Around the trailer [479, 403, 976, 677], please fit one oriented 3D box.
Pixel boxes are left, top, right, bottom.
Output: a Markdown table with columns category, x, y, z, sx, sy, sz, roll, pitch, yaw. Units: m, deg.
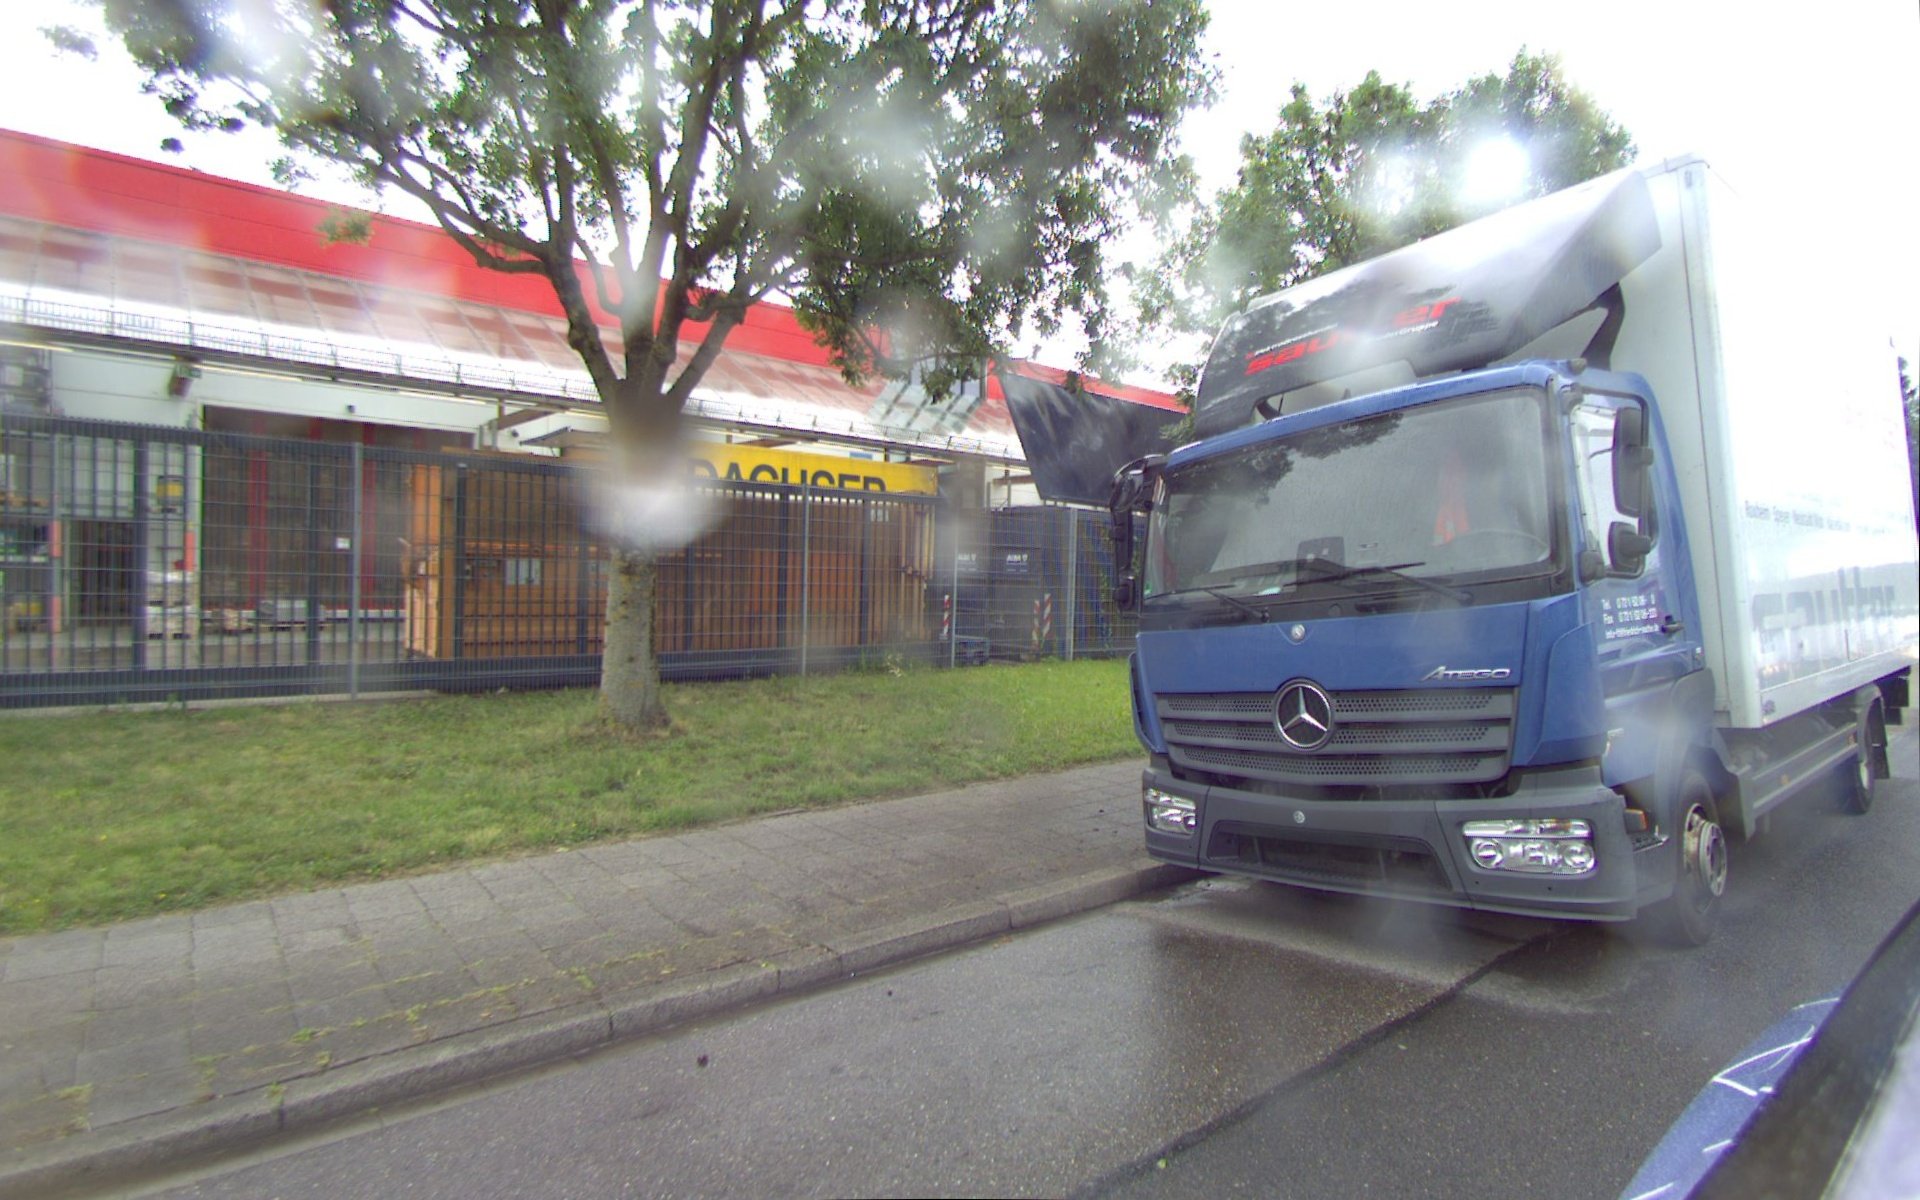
| category | x | y | z | sx | sy | sz | roll | pitch | yaw |
| --- | --- | --- | --- | --- | --- | --- | --- | --- | --- |
| trailer | -4.132 | -1.068 | 20.019 | 9.306 | 4.295 | 2.973 | -1 | 2 | -41 |

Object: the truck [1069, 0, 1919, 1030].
| category | x | y | z | sx | sy | sz | roll | pitch | yaw |
| --- | --- | --- | --- | --- | --- | --- | --- | --- | --- |
| truck | 4.470 | -0.396 | 7.030 | 7.867 | 3.740 | 2.676 | 0 | -2 | -40 |
